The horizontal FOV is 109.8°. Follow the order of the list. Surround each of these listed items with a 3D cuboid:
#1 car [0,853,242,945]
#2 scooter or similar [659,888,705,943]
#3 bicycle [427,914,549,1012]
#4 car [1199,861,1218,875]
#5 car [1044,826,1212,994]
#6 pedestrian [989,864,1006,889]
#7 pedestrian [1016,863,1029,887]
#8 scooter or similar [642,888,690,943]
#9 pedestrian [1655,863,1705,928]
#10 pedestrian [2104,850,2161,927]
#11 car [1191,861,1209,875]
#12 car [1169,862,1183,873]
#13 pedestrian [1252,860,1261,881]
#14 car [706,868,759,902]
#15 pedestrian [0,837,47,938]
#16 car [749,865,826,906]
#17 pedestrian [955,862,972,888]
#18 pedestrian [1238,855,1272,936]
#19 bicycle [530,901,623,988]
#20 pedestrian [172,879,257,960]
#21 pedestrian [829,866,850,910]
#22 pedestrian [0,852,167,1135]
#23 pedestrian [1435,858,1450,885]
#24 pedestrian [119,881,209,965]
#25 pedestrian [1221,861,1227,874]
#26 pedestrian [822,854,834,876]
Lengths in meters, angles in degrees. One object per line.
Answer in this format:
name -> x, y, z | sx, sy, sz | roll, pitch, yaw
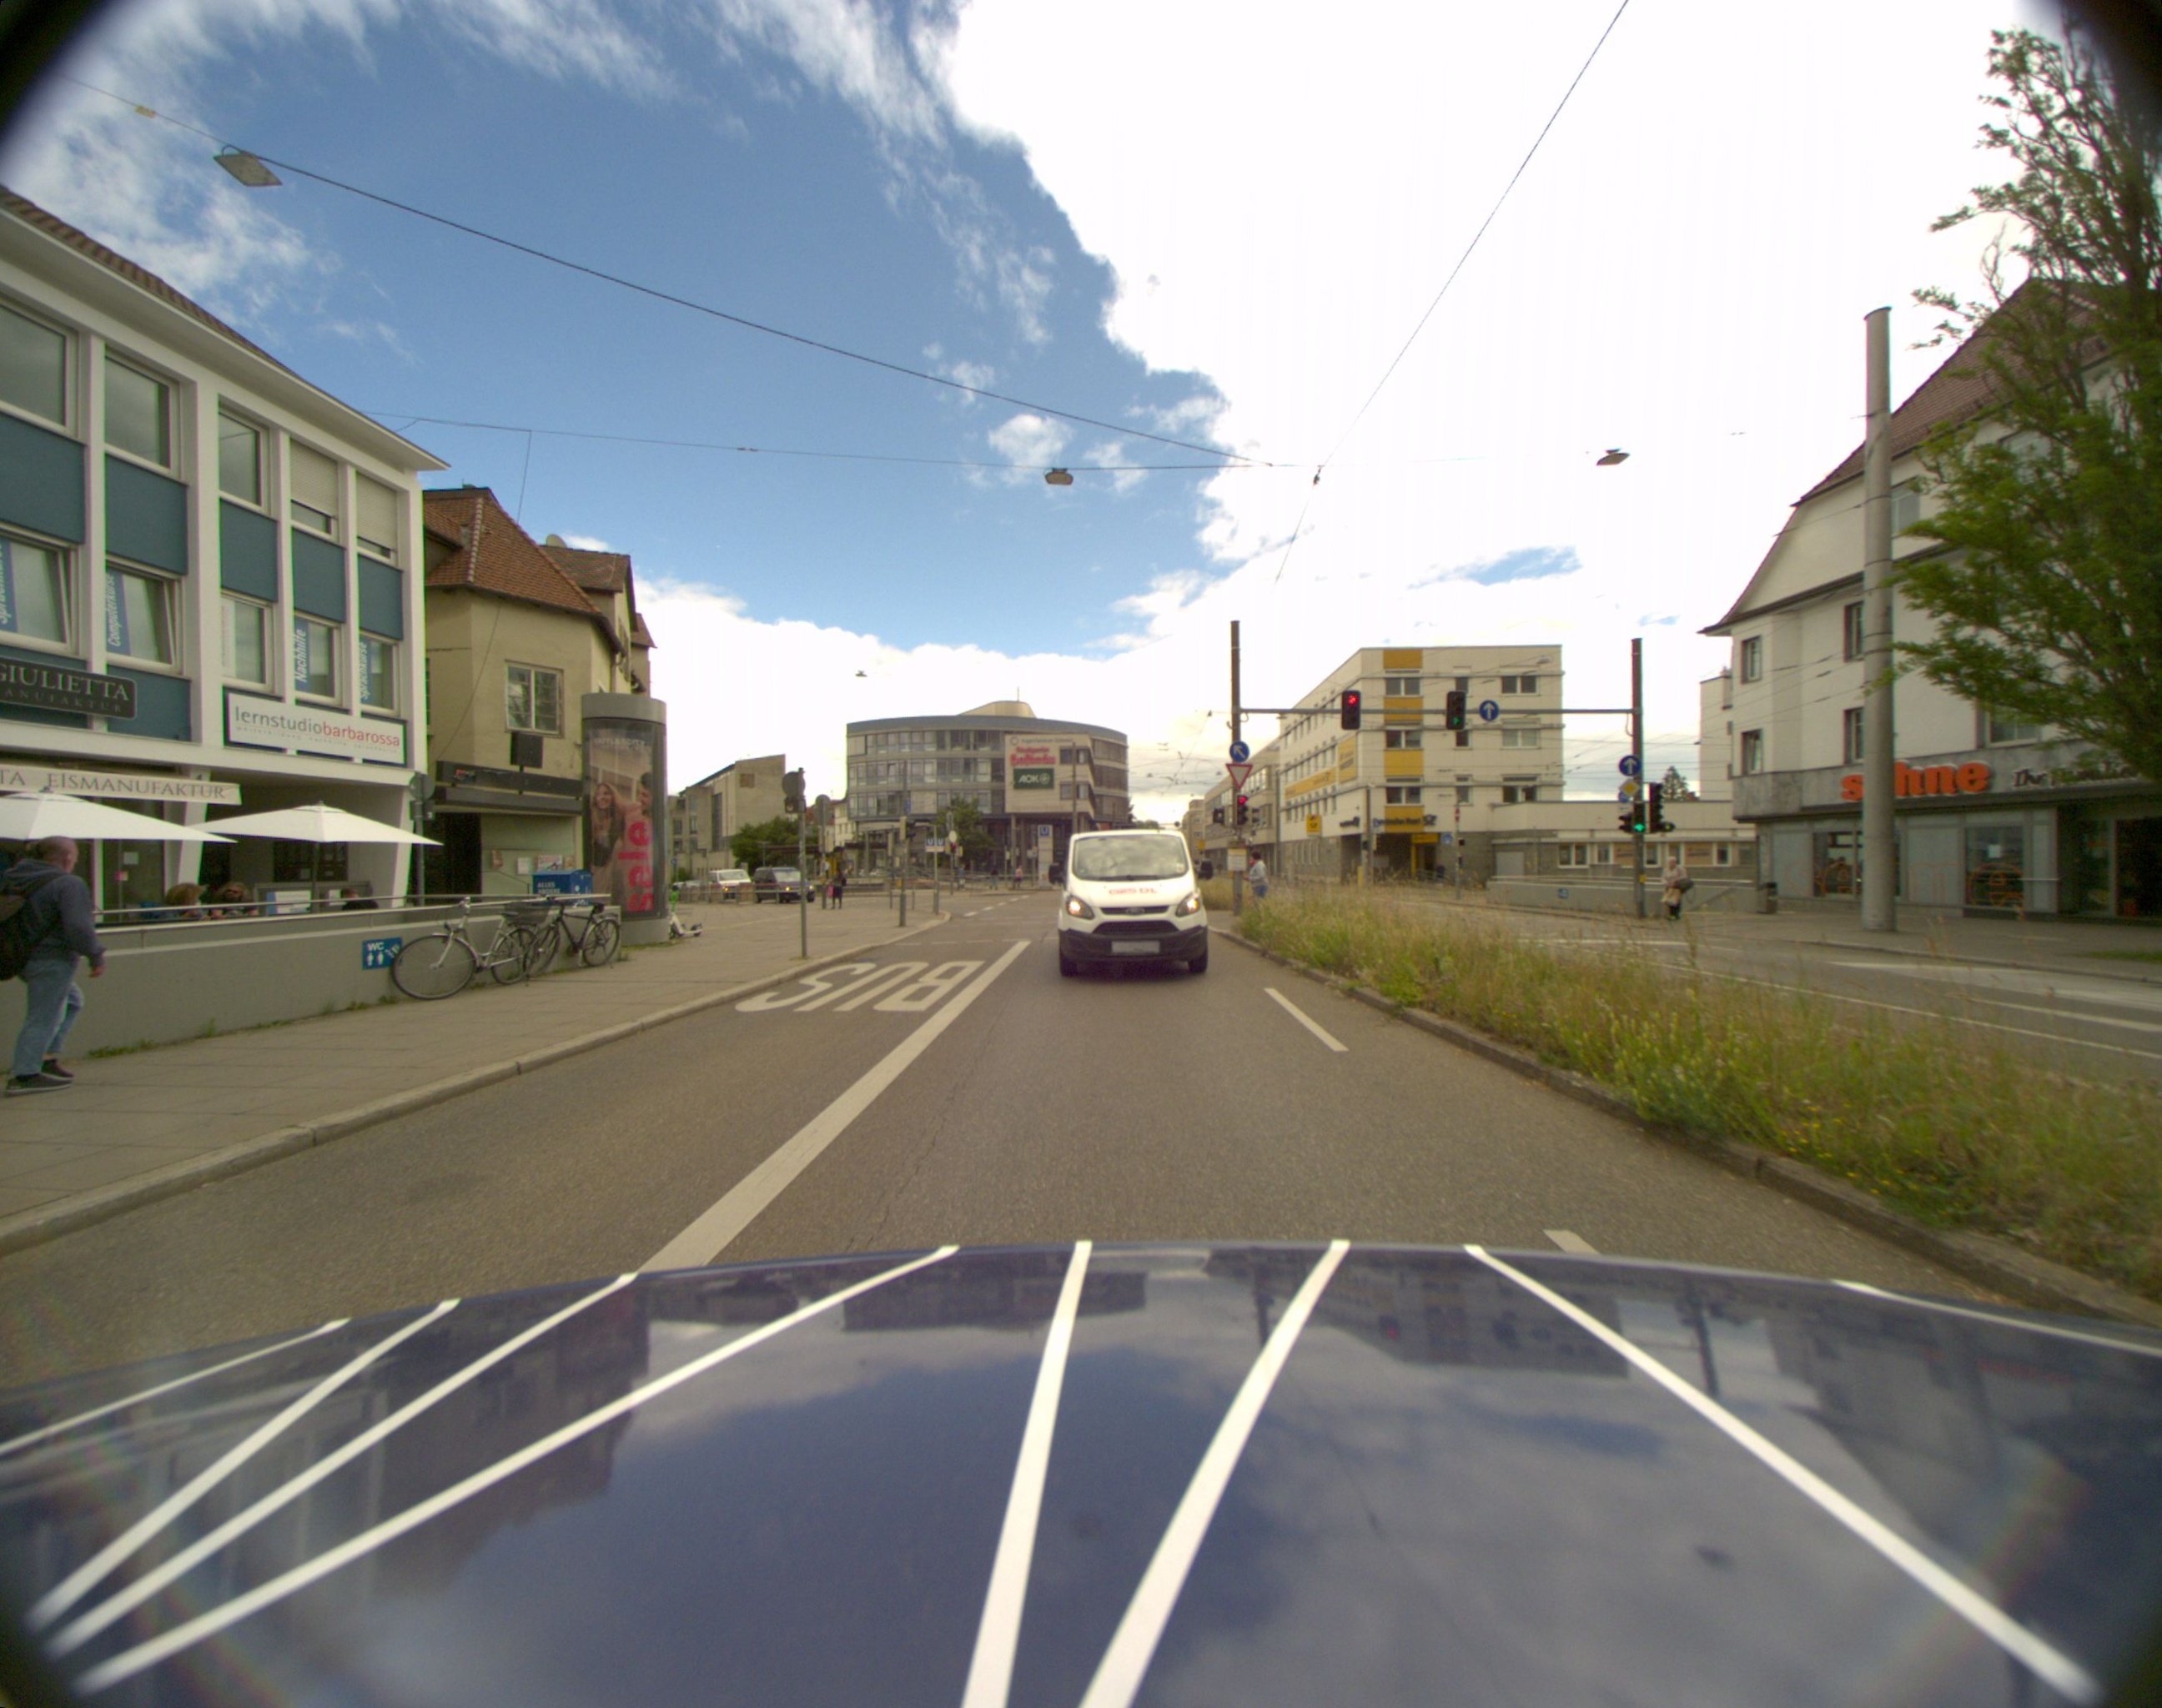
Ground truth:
car -> -19.315, 0.868, 14.962 | 3.974, 1.656, 1.736 | -1, -1, 6
scooter or similar -> -8.736, 1.330, 16.666 | 0.315, 1.126, 1.209 | 0, -1, 4
bicycle -> -6.905, 1.231, 8.920 | 0.274, 0.968, 1.388 | 0, -1, 4
car -> 17.888, 1.955, 106.835 | 1.998, 2.001, 4.487 | -1, -1, 1
car -> 0.820, 0.717, 11.666 | 1.997, 2.001, 5.002 | -1, -1, 6
pedestrian -> -5.543, 1.490, 50.713 | 0.847, 1.624, 0.644 | -3, -1, -30
pedestrian -> -4.005, 1.413, 51.697 | 0.589, 1.624, 0.525 | -3, -1, -42
scooter or similar -> -9.085, 1.323, 16.654 | 0.315, 1.126, 1.209 | 0, -1, 4
pedestrian -> 15.525, 1.070, 19.701 | 0.702, 1.624, 0.614 | -3, 0, -8
pedestrian -> 22.986, 0.738, 16.516 | 0.614, 1.624, 0.588 | -3, 0, 1
car -> 17.672, 2.022, 113.043 | 1.998, 2.001, 4.487 | -1, -1, 1
car -> 15.920, 2.259, 127.336 | 2.073, 1.728, 4.694 | 2, 0, 4
pedestrian -> 15.210, 1.441, 66.001 | 0.587, 1.792, 0.526 | -3, 0, 3
car -> -20.834, 1.776, 45.324 | 1.884, 1.884, 4.915 | -1, 0, -36
pedestrian -> -15.898, 0.502, 11.136 | 0.614, 1.452, 0.588 | -3, 0, 2
car -> -14.838, 1.530, 38.290 | 1.884, 1.884, 4.914 | -1, 0, -43
pedestrian -> -7.747, 1.369, 49.905 | 0.808, 1.637, 0.886 | 0, 0, -32
pedestrian -> 3.538, 0.829, 15.460 | 0.504, 1.625, 0.663 | 0, 0, -3
bicycle -> -6.876, 1.200, 10.414 | 0.274, 1.047, 1.388 | 0, -1, 4
pedestrian -> -13.755, 1.026, 12.071 | 0.614, 1.213, 0.588 | -3, -1, 1
pedestrian -> -9.287, 1.308, 29.212 | 0.589, 1.612, 0.743 | -3, -1, -29
pedestrian -> -6.550, 0.808, 4.730 | 0.689, 1.625, 0.853 | 0, 0, 2
pedestrian -> 21.897, 1.061, 46.026 | 0.587, 1.625, 0.615 | 0, 0, 3
pedestrian -> -13.796, 1.022, 11.440 | 0.614, 1.213, 0.588 | 1, 0, 1
pedestrian -> 21.309, 2.015, 113.173 | 0.587, 1.792, 0.526 | -3, 0, 3
pedestrian -> -21.228, 0.921, 63.737 | 0.613, 1.733, 0.697 | -4, -1, 39
